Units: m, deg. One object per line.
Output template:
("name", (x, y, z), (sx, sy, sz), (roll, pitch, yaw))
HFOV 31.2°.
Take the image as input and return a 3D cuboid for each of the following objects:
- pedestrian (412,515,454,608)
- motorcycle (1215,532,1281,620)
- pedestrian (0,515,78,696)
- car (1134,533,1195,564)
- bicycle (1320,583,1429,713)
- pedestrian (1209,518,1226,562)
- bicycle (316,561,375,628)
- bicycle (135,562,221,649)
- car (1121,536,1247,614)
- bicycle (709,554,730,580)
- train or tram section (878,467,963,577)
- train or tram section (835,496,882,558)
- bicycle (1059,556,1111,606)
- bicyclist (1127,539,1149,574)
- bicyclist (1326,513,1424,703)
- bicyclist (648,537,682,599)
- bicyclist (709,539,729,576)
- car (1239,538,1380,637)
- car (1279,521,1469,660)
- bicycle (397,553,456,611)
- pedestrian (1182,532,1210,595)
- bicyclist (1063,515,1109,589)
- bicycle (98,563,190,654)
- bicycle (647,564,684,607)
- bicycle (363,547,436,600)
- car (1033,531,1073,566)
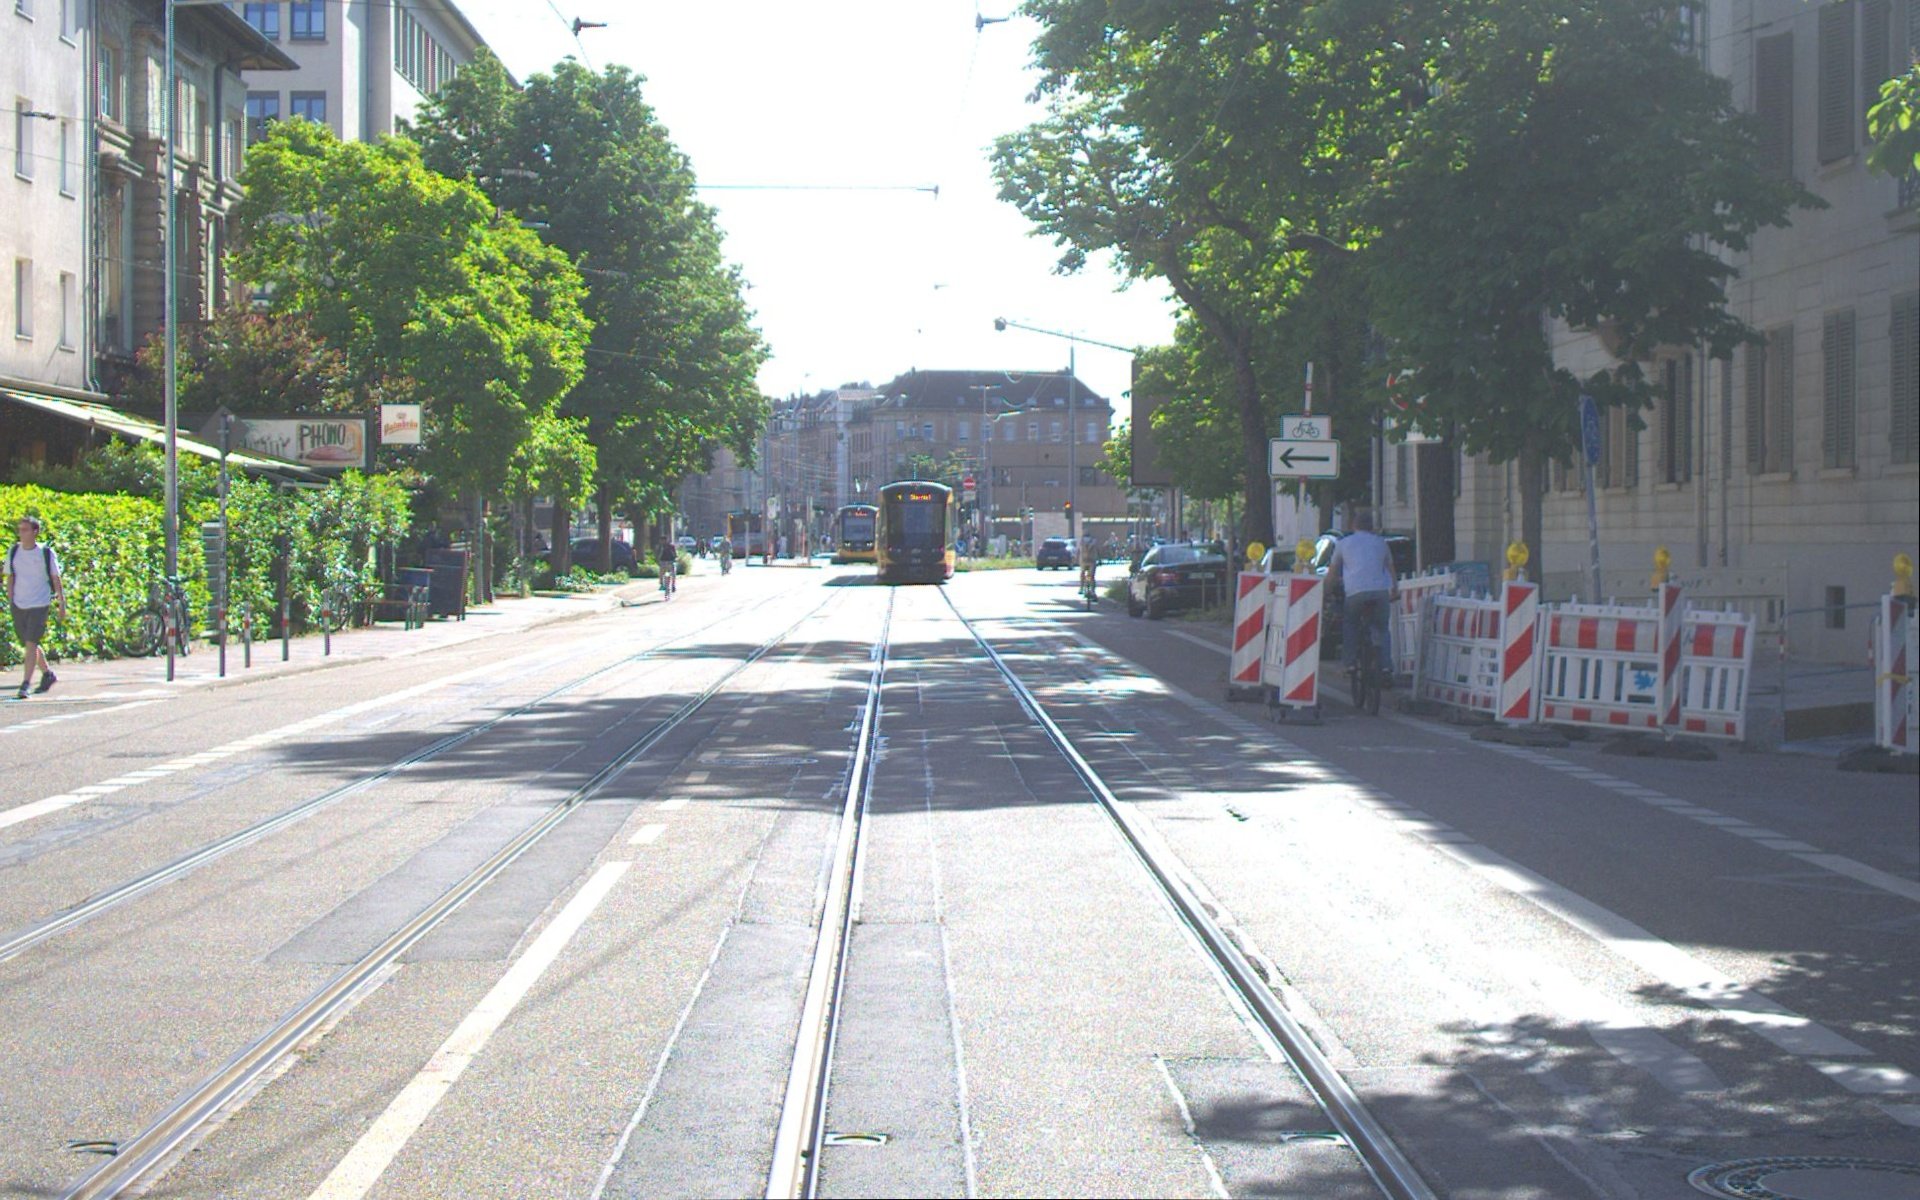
("pedestrian", (-10.458, -0.760, 68.246), (0.576, 1.825, 0.689), (1, 1, 18))
("motorcycle", (5.035, -0.434, 60.298), (0.913, 1.483, 2.679), (-2, 1, 1))
("pedestrian", (-9.131, 0.045, 33.816), (0.691, 1.762, 0.866), (0, 1, 0))
("car", (11.420, -2.882, 191.767), (1.705, 1.638, 3.705), (2, 2, 34))
("bicycle", (3.754, 0.417, 31.274), (0.738, 1.090, 2.111), (2, 1, 1))
("pedestrian", (11.398, -2.665, 152.291), (0.637, 1.897, 1.134), (-2, 1, 0))
("bicycle", (-10.282, -0.102, 57.558), (0.638, 1.055, 1.743), (3, 1, 0))
("bicycle", (-10.237, 0.068, 45.042), (0.661, 1.086, 1.840), (3, 0, 0))
("car", (4.432, -0.520, 68.566), (1.821, 1.453, 4.819), (-2, 1, -4))
("bicycle", (-10.659, -1.461, 152.481), (0.687, 1.120, 1.931), (-2, 1, 3))
("train or tram section", (-1.475, -2.772, 120.967), (2.742, 3.639, 13.787), (0, 1, -2))
("train or tram section", (-6.136, -4.471, 208.553), (2.742, 3.639, 13.787), (0, 1, -2))
("bicycle", (2.881, -0.448, 79.129), (0.705, 1.101, 1.715), (2, 2, 19))
("bicyclist", (8.874, -2.178, 171.570), (0.706, 1.694, 0.986), (3, 2, 24))
("bicyclist", (3.766, 0.062, 31.257), (0.738, 1.680, 0.972), (2, 1, 1))
("bicyclist", (-7.904, -0.861, 92.093), (0.745, 1.594, 1.118), (-3, 1, 1))
("bicyclist", (-10.678, -1.886, 152.455), (0.687, 1.639, 1.237), (-2, 1, 3))
("car", (5.233, -0.217, 51.899), (1.724, 1.377, 4.356), (-1, 1, 1))
("car", (5.230, -0.161, 43.937), (1.810, 1.620, 4.584), (-2, 1, 0))
("bicycle", (-10.845, -0.382, 69.979), (0.646, 1.139, 1.904), (2, 1, 7))
("pedestrian", (6.987, -1.099, 101.858), (0.683, 1.843, 0.955), (-1, 1, -2))
("bicyclist", (2.898, -1.099, 79.108), (0.705, 1.669, 1.100), (2, 2, 19))
("bicycle", (-10.195, 0.097, 43.008), (0.661, 1.086, 1.840), (3, 0, 0))
("bicycle", (-7.881, -0.389, 92.101), (0.745, 1.078, 1.899), (-3, 1, 0))
("bicycle", (-11.156, -0.538, 68.444), (0.637, 1.042, 2.020), (1, 1, 16))
("car", (4.601, -2.542, 169.141), (1.789, 1.599, 3.712), (2, 1, 3))
